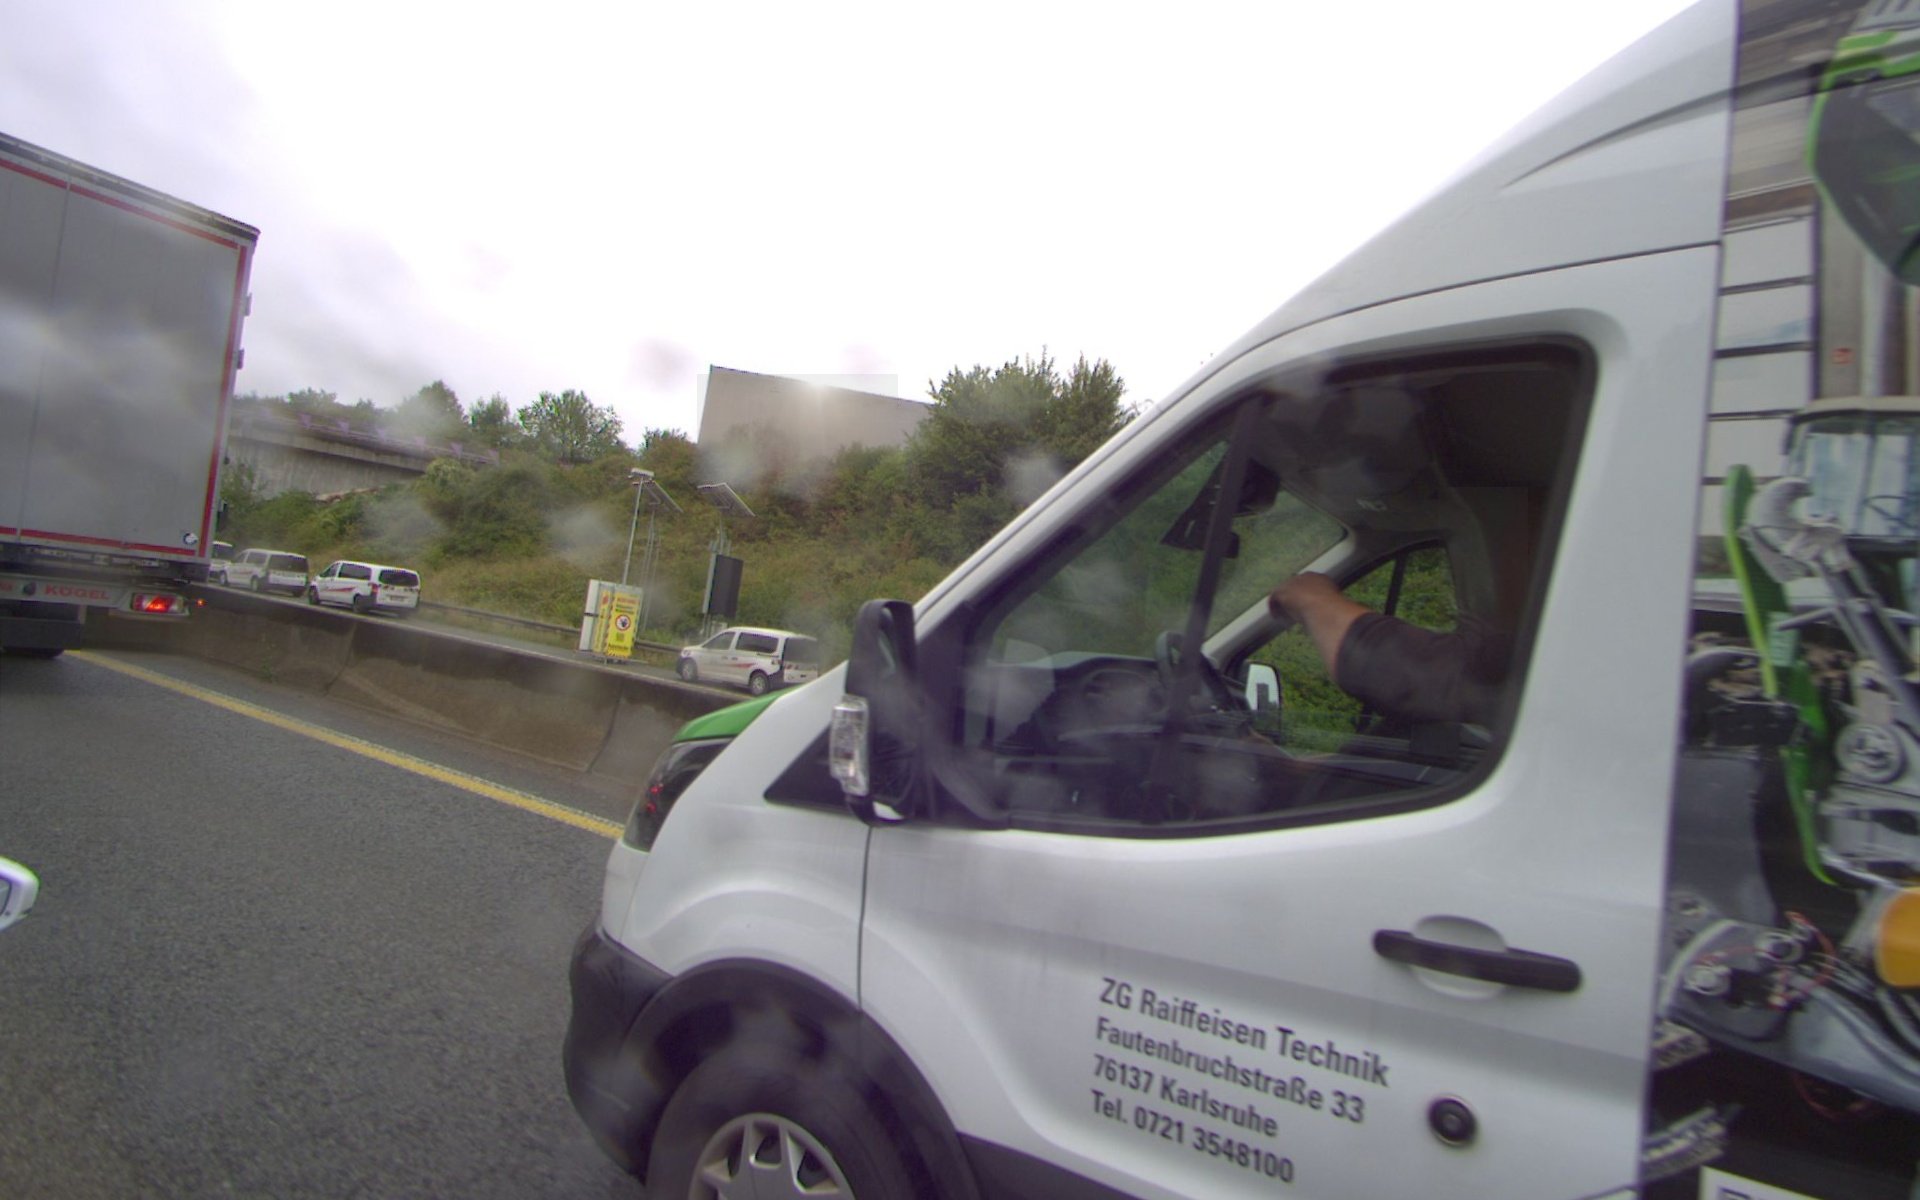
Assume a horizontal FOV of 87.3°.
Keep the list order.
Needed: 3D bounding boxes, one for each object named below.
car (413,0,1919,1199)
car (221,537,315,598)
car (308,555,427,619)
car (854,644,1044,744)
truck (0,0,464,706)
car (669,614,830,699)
[{"bbox_3d":[2.015,0.391,1.557,6.017,2.707,2.148,6,-1,33],"label":"car"},{"bbox_3d":[-29.440,-1.409,42.750,4.057,2.082,1.731,6,-1,34],"label":"car"},{"bbox_3d":[-22.774,-0.526,38.630,4.651,1.850,1.945,6,-2,34],"label":"car"},{"bbox_3d":[-0.306,2.288,24.827,4.256,1.790,1.733,7,-1,30],"label":"car"},{"bbox_3d":[-14.343,-3.014,12.953,20.042,5.739,3.986,6,-1,33],"label":"truck"},{"bbox_3d":[-5.930,1.577,28.234,4.196,1.778,1.733,7,-1,30],"label":"car"}]
